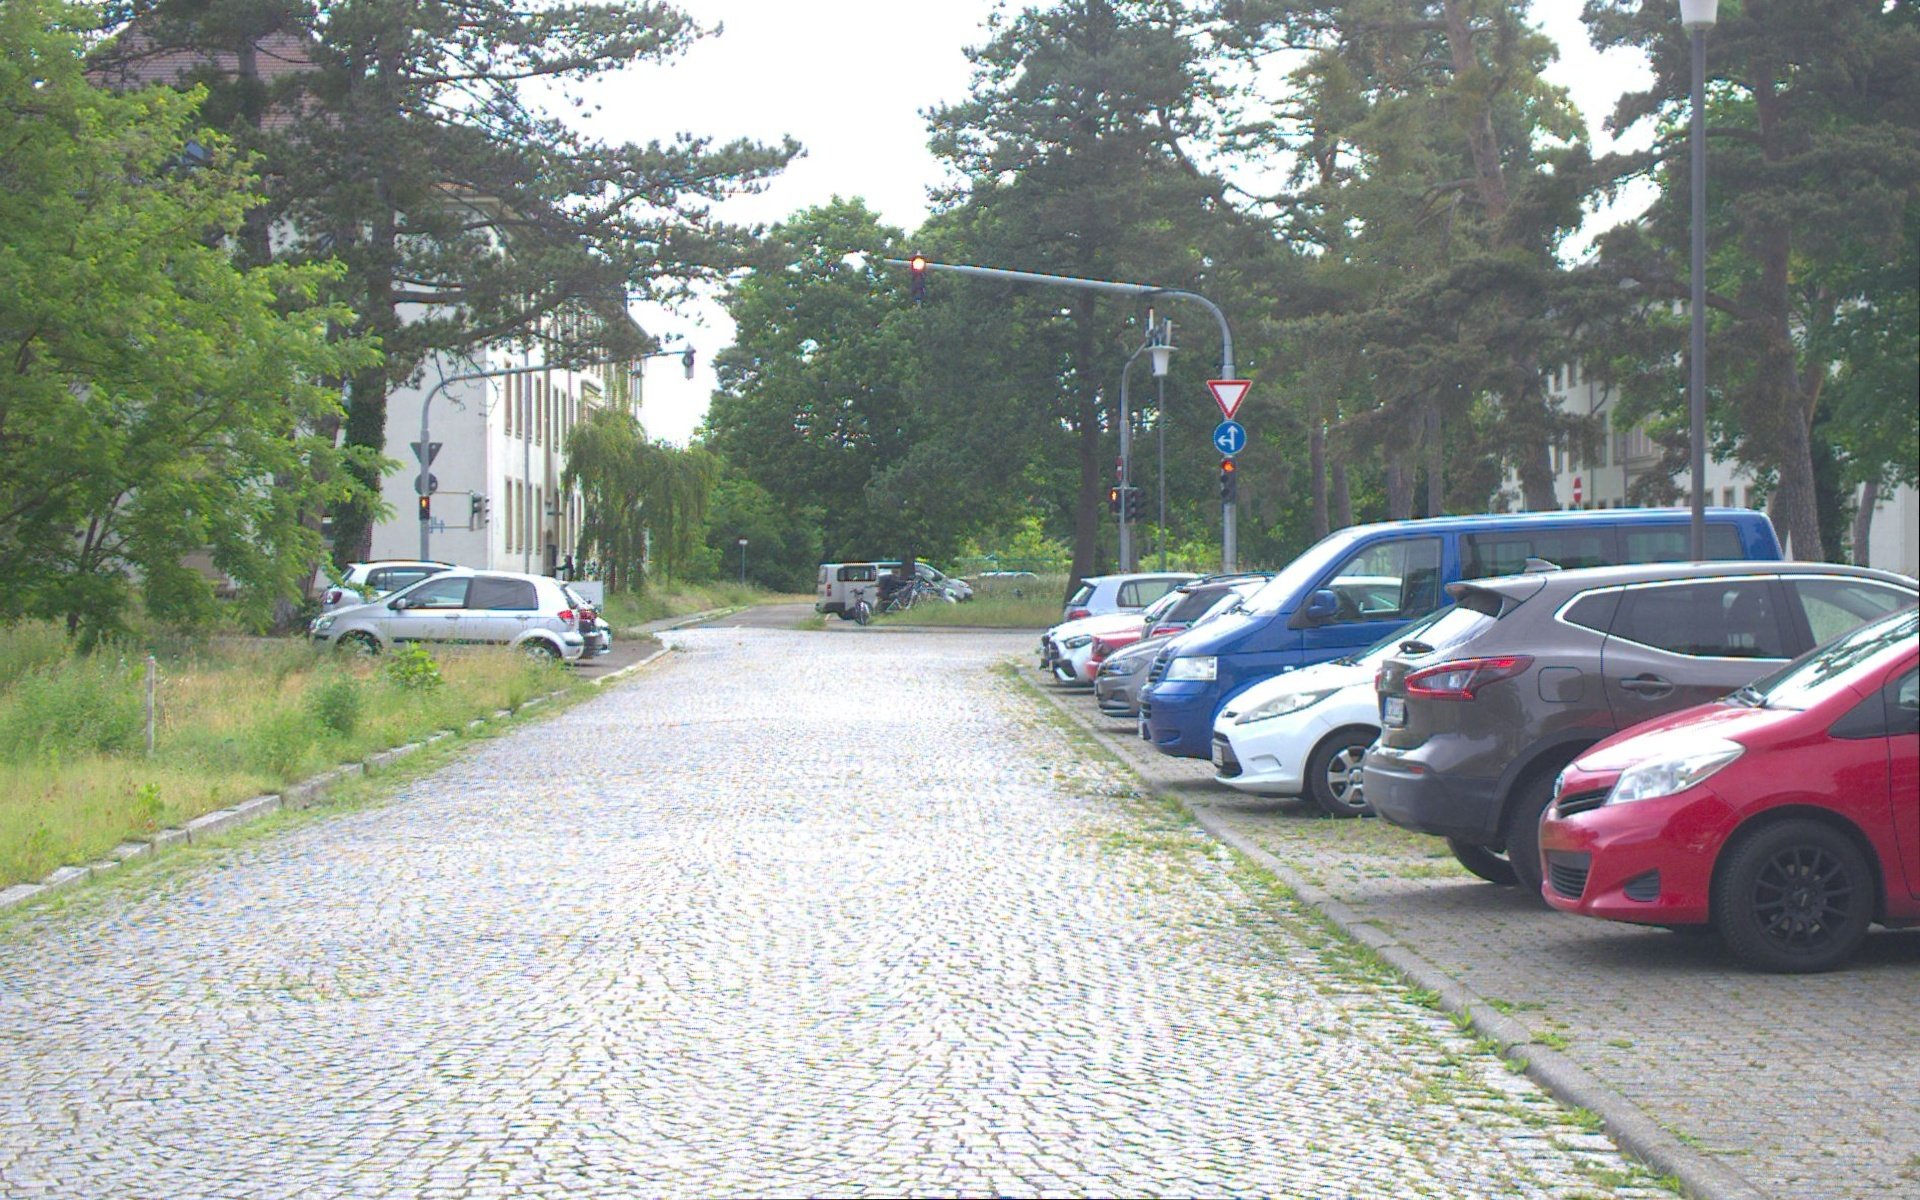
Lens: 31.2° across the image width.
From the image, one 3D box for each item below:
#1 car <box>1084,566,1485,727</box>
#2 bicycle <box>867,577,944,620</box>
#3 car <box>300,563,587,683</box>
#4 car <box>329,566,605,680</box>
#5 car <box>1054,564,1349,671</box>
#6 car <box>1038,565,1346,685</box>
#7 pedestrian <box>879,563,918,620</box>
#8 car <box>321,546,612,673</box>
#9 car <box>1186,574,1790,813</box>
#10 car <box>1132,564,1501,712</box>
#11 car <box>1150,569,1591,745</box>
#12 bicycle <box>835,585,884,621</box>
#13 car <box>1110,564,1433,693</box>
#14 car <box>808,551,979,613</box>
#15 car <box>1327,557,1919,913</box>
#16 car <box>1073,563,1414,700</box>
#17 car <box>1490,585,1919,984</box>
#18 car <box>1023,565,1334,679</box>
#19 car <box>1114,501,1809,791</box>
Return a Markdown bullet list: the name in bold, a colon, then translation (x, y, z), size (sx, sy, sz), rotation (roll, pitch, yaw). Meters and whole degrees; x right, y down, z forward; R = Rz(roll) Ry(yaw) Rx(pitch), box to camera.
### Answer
- **car**: translation (3.126, 0.435, 33.484), size (3.671, 1.444, 1.524), rotation (-1, 0, -3)
- **bicycle**: translation (-1.552, -0.037, 98.080), size (2.136, 1.210, 0.622), rotation (1, 0, -5)
- **car**: translation (-7.172, 0.310, 47.972), size (3.821, 1.567, 1.564), rotation (-1, 0, -4)
- **car**: translation (-7.194, 0.326, 50.389), size (3.821, 1.567, 1.564), rotation (-1, 0, -2)
- **car**: translation (3.435, 0.244, 49.229), size (3.967, 1.416, 1.620), rotation (-1, 0, -5)
- **car**: translation (2.923, 0.308, 43.714), size (3.671, 1.416, 1.524), rotation (-1, 0, -5)
- **pedestrian**: translation (-1.760, -0.247, 98.418), size (1.033, 1.608, 0.757), rotation (1, 0, -6)
- **car**: translation (-7.623, 0.138, 53.369), size (4.262, 1.834, 1.744), rotation (-1, 0, -2)
- **car**: translation (3.449, 0.591, 22.837), size (3.671, 1.444, 1.615), rotation (-1, 0, -4)
- **car**: translation (3.748, 0.391, 36.483), size (3.671, 1.444, 1.524), rotation (-1, 0, -3)
- **car**: translation (3.623, 0.493, 30.713), size (3.671, 1.444, 1.524), rotation (-1, 0, -3)
- **bicycle**: translation (-2.751, 0.081, 93.990), size (0.620, 0.942, 1.663), rotation (1, 0, -29)
- **car**: translation (3.726, 0.329, 41.475), size (3.671, 1.444, 1.524), rotation (-1, 0, -3)
- **car**: translation (-2.254, -0.613, 115.979), size (5.444, 2.007, 2.269), rotation (1, 0, -10)
- **car**: translation (3.920, 0.583, 16.467), size (4.028, 1.547, 1.751), rotation (-1, 0, -4)
- **car**: translation (3.197, 0.346, 39.180), size (3.671, 1.444, 1.524), rotation (-1, 0, -3)
- **car**: translation (4.192, 0.667, 13.821), size (3.792, 1.455, 1.751), rotation (-1, 0, -1)
- **car**: translation (2.934, 0.287, 46.570), size (3.967, 1.416, 1.620), rotation (-1, 0, -5)
- **car**: translation (3.625, 0.316, 25.432), size (4.754, 1.948, 1.931), rotation (-1, 0, -3)
